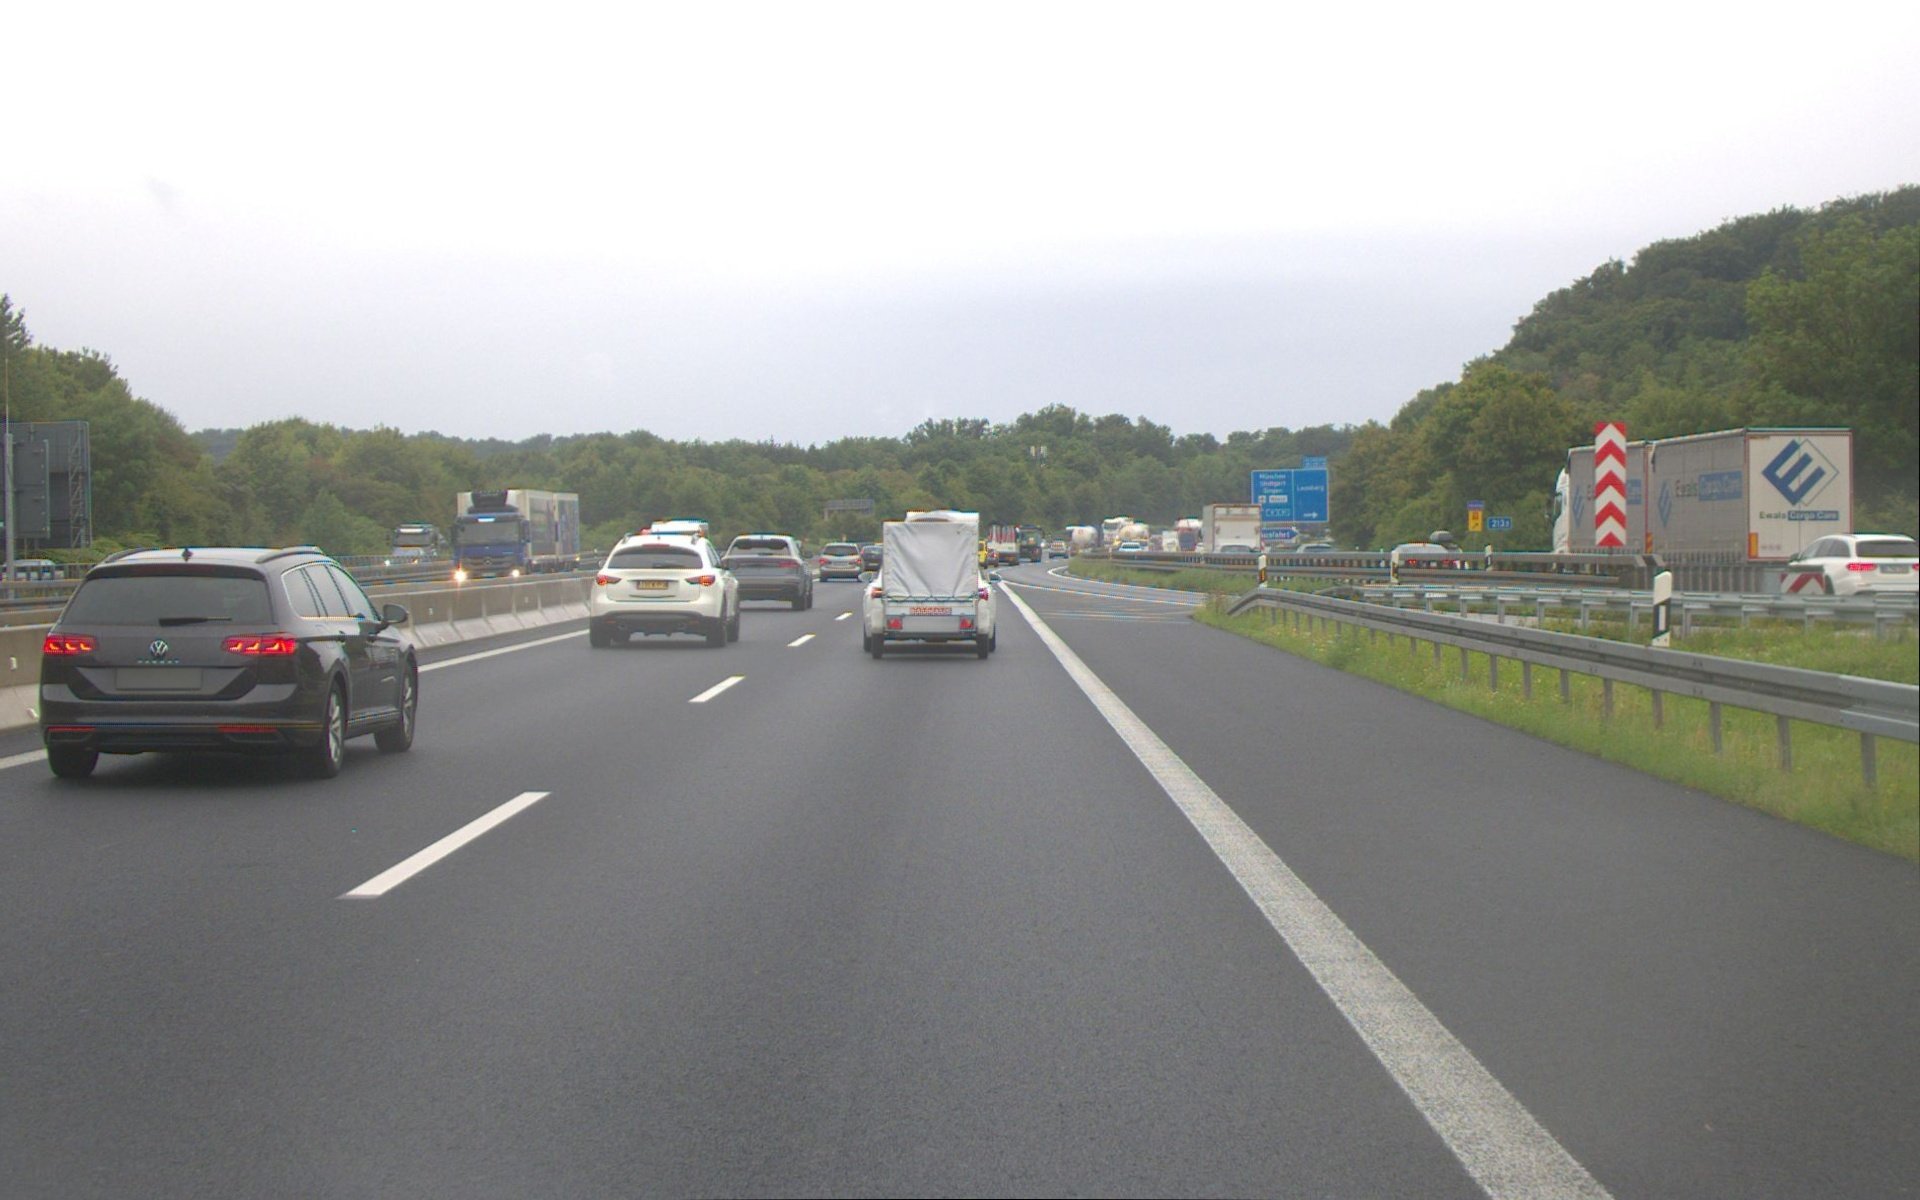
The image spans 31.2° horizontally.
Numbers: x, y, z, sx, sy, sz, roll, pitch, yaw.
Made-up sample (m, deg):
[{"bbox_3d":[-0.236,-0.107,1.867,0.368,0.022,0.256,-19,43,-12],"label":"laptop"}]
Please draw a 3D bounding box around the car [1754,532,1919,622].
[{"bbox_3d":[16.757,-0.448,64.692,1.993,1.611,5.080,0,1,-6],"label":"car"}]

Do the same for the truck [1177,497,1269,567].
[{"bbox_3d":[14.210,-3.675,186.381,3.824,3.646,8.273,1,1,-3],"label":"truck"}]

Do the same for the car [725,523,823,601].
[{"bbox_3d":[-4.219,-0.889,78.743,1.975,1.697,4.802,1,1,0],"label":"car"}]

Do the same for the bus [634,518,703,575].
[{"bbox_3d":[-13.697,-2.536,162.133,2.541,2.577,8.271,1,1,0],"label":"bus"}]

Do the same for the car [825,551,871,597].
[{"bbox_3d":[-4.558,-1.078,140.665,1.738,1.787,4.000,1,1,0],"label":"car"}]

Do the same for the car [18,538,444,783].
[{"bbox_3d":[-4.747,0.323,23.076,1.787,1.454,4.802,1,1,1],"label":"car"}]

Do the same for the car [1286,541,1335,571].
[{"bbox_3d":[15.256,-1.904,149.738,1.697,1.284,3.535,1,1,-1],"label":"car"}]

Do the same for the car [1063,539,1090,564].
[{"bbox_3d":[7.666,-3.196,225.830,1.645,1.568,4.000,1,1,1],"label":"car"}]

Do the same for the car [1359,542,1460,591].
[{"bbox_3d":[13.699,-1.041,105.046,1.986,1.372,5.320,0,2,-4],"label":"car"}]

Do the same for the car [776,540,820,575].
[{"bbox_3d":[-7.679,-2.034,163.062,1.819,1.656,4.017,0,1,1],"label":"car"}]

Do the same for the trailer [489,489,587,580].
[{"bbox_3d":[-16.927,-2.630,138.354,2.942,3.504,8.052,1,1,0],"label":"trailer"}]

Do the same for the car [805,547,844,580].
[{"bbox_3d":[-6.963,-1.882,177.248,1.819,1.656,4.017,0,1,1],"label":"car"}]

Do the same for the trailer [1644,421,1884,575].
[{"bbox_3d":[19.477,-2.424,83.829,3.077,3.515,8.087,1,1,-7],"label":"trailer"}]

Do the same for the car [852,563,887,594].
[{"bbox_3d":[-4.761,-1.151,180.956,1.645,1.568,4.000,1,1,1],"label":"car"}]

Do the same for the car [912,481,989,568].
[{"bbox_3d":[-0.336,-2.447,110.612,2.331,2.716,6.541,0,2,-2],"label":"car"}]

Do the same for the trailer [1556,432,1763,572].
[{"bbox_3d":[18.598,-2.560,92.018,2.937,3.515,8.421,1,1,-6],"label":"trailer"}]

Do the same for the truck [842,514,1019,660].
[{"bbox_3d":[-0.419,-0.226,47.311,2.242,1.833,6.585,1,1,-1],"label":"truck"}]

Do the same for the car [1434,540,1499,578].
[{"bbox_3d":[17.916,-1.444,121.639,1.697,1.284,3.535,1,1,-1],"label":"car"}]

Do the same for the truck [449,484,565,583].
[{"bbox_3d":[-16.904,-2.465,128.942,2.808,3.512,10.641,1,1,0],"label":"truck"}]

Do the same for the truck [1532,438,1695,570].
[{"bbox_3d":[18.215,-2.648,96.141,2.937,3.515,5.928,1,1,-5],"label":"truck"}]

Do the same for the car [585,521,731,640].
[{"bbox_3d":[-4.482,-0.320,51.000,2.048,1.665,4.542,1,1,-5],"label":"car"}]

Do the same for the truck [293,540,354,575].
[{"bbox_3d":[-27.470,-1.844,148.468,1.993,1.490,4.472,0,1,-3],"label":"truck"}]
